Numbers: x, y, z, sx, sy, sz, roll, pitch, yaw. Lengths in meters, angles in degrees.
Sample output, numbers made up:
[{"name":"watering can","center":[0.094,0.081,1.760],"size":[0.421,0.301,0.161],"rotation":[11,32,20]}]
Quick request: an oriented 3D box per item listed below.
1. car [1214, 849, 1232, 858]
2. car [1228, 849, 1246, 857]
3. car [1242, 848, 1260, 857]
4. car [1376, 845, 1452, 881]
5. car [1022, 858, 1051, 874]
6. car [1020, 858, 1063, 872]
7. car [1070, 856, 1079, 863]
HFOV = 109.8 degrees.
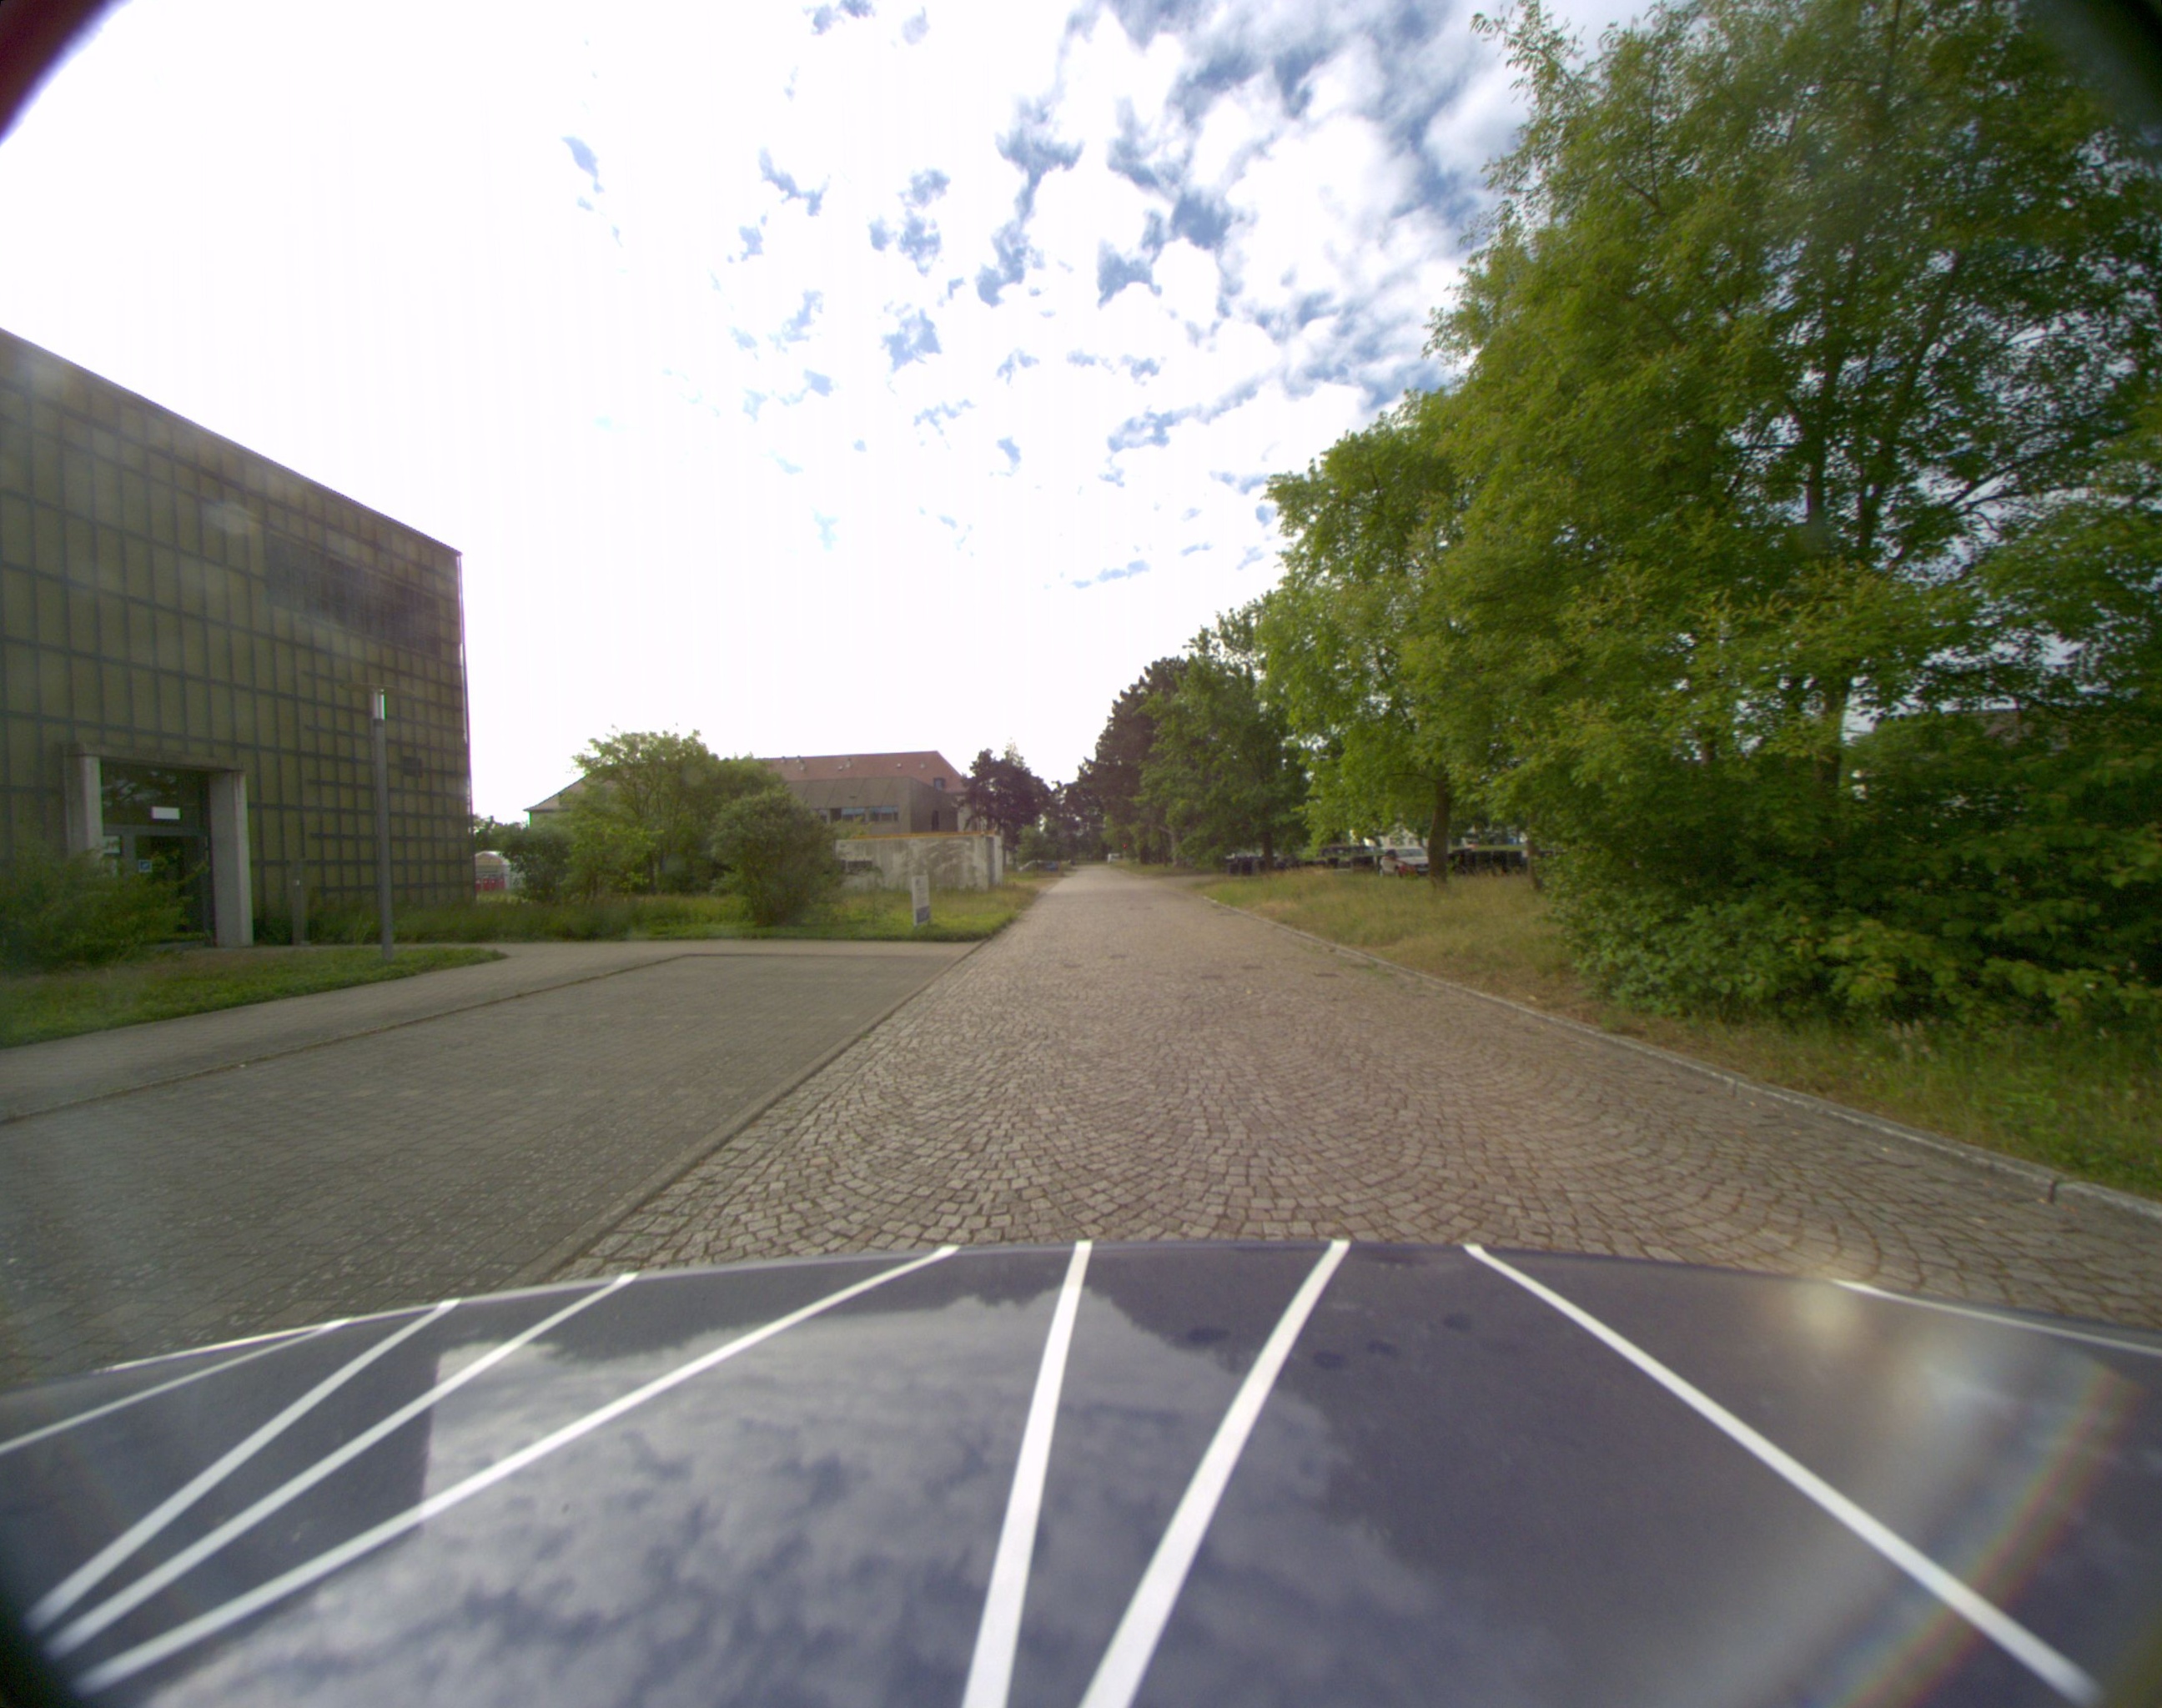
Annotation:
[{"name":"car","center":[24.994,-0.057,133.886],"size":[1.999,1.441,4.452],"rotation":[-2,0,-2]},{"name":"car","center":[27.506,-0.182,134.330],"size":[1.999,1.441,4.452],"rotation":[-2,0,-2]},{"name":"car","center":[30.087,-0.305,134.393],"size":[1.999,1.441,4.452],"rotation":[-2,0,-2]},{"name":"car","center":[14.450,0.368,33.185],"size":[1.827,1.423,4.221],"rotation":[-2,0,7]},{"name":"car","center":[-4.378,1.161,75.179],"size":[2.748,1.573,1.683],"rotation":[0,0,1]},{"name":"car","center":[-4.238,1.177,82.467],"size":[4.537,1.441,1.932],"rotation":[0,0,-1]},{"name":"car","center":[-1.799,1.333,197.954],"size":[1.999,1.777,3.998],"rotation":[-2,0,-5]}]
